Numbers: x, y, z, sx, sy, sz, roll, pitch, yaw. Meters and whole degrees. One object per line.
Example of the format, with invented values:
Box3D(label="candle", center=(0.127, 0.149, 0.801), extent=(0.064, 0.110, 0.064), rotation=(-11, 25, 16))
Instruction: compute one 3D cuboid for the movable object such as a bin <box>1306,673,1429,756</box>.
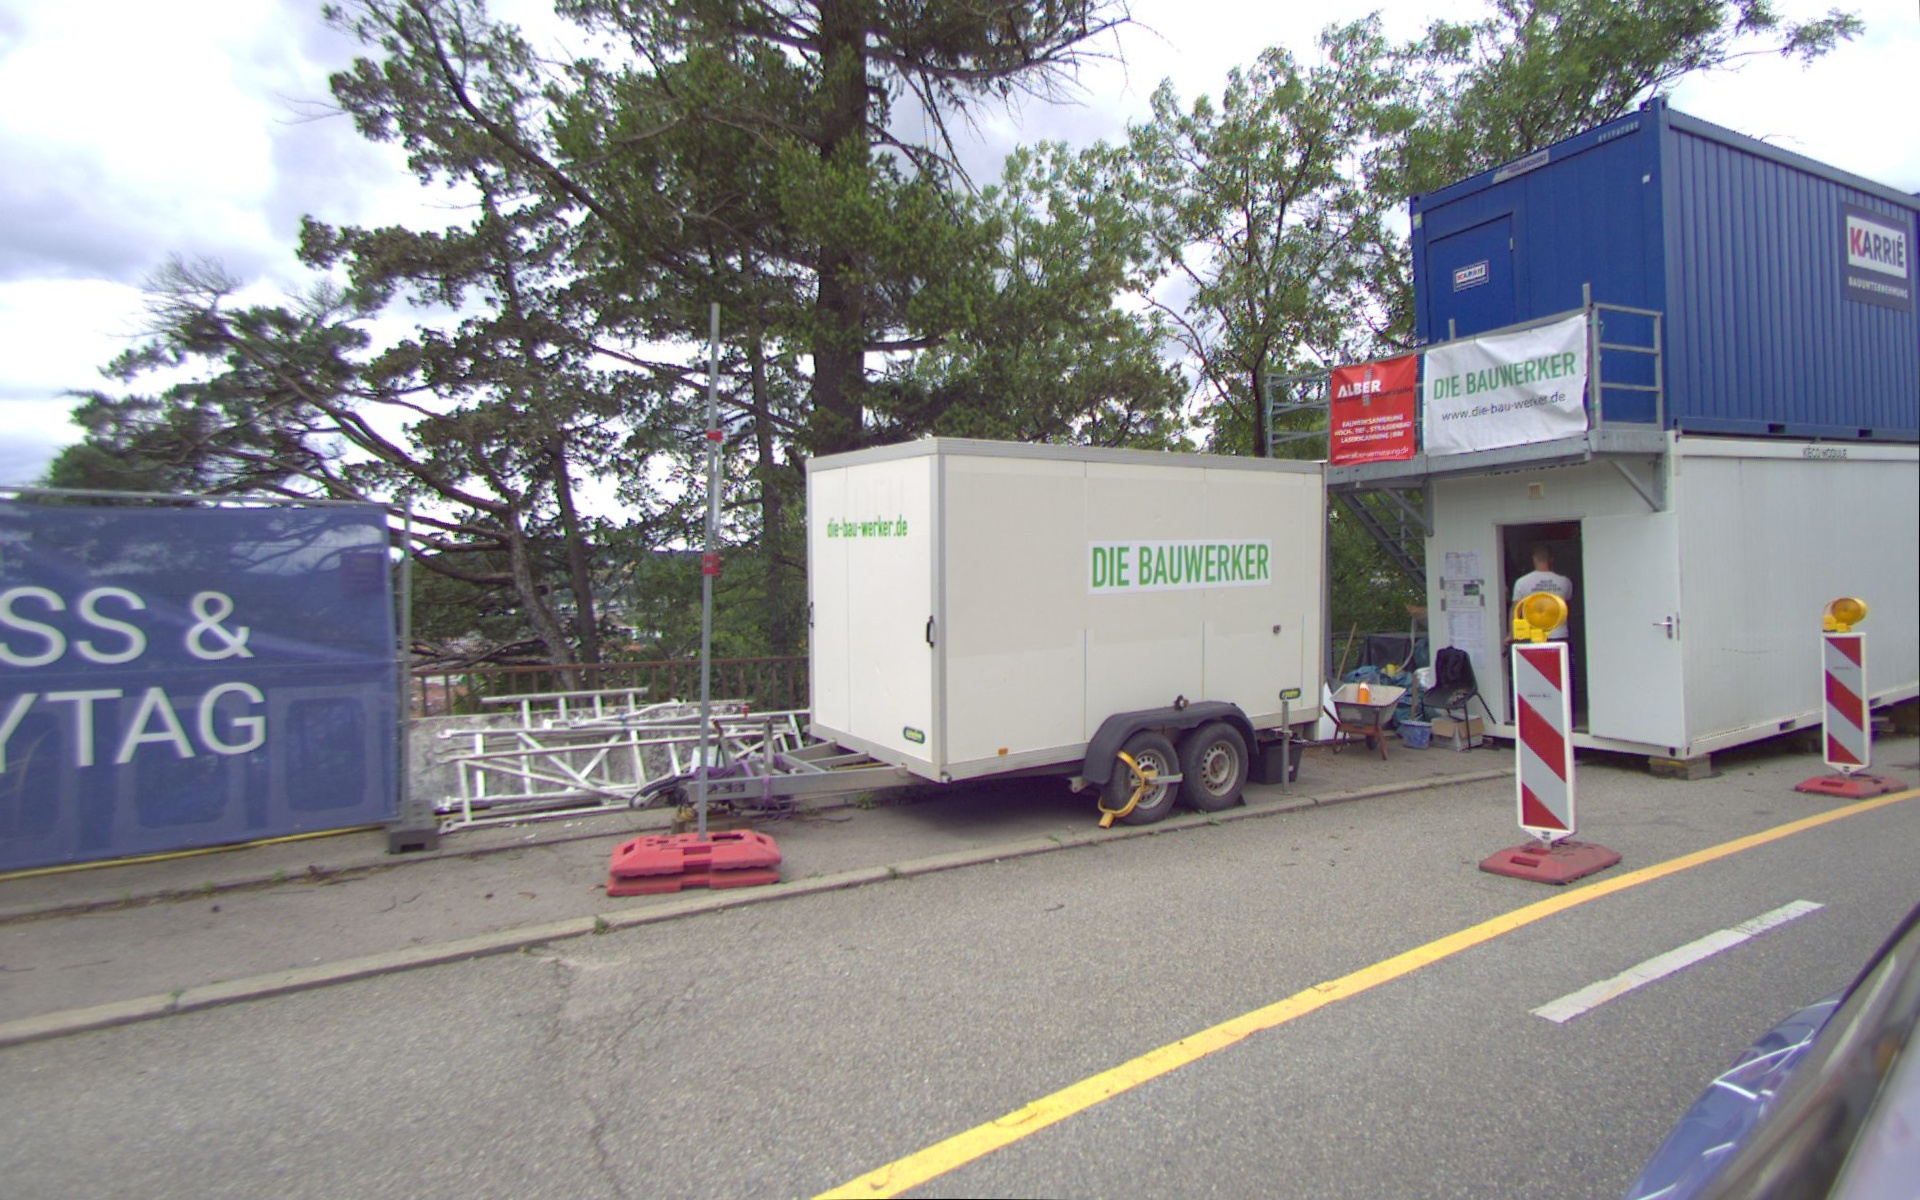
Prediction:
Box3D(label="movable object such as a bin", center=(3.876, 1.071, 9.631), extent=(0.869, 0.648, 0.707), rotation=(0, 2, -32))

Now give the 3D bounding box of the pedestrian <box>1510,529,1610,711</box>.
Box3D(label="pedestrian", center=(5.771, 0.193, 9.770), extent=(0.641, 1.683, 0.646), rotation=(-2, -2, 18))

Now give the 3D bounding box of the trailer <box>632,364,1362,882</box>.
Box3D(label="trailer", center=(0.463, 0.072, 7.344), extent=(5.021, 2.581, 2.114), rotation=(0, 2, -35))
